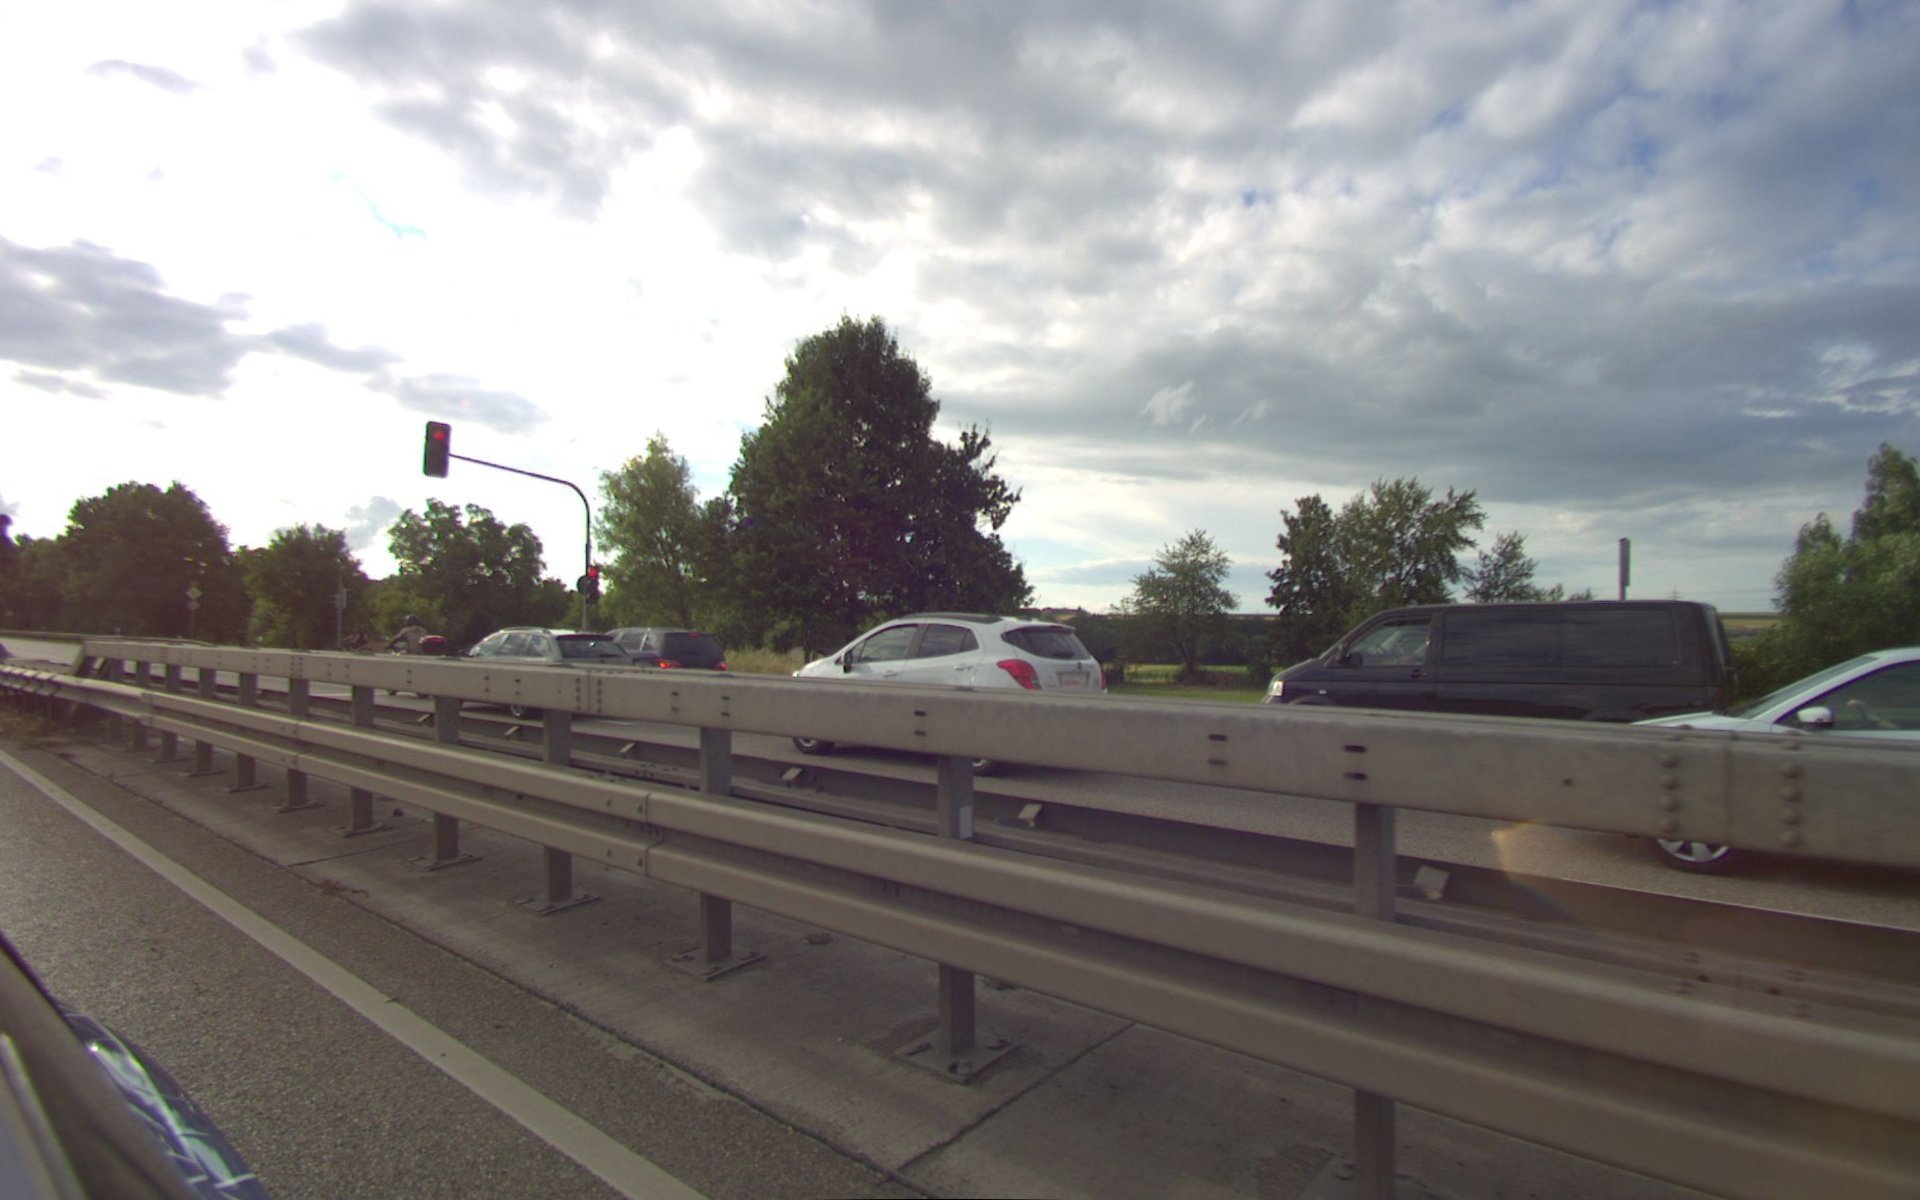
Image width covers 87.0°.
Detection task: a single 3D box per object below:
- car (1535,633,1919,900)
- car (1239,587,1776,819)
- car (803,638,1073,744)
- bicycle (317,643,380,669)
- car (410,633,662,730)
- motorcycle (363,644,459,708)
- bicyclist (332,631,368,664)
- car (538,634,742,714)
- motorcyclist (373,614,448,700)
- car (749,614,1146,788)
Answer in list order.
[{"bbox_3d":[5.995,0.942,6.090,4.157,1.455,1.770,-1,-3,40],"label":"car"},{"bbox_3d":[5.845,0.969,11.243,4.944,2.029,1.973,-1,-3,41],"label":"car"},{"bbox_3d":[-0.432,1.370,16.391,4.181,1.476,1.888,-1,-3,40],"label":"car"},{"bbox_3d":[-27.722,2.551,45.885,2.292,1.146,0.816,3,-3,-44],"label":"bicycle"},{"bbox_3d":[-7.463,1.304,17.541,5.148,1.439,1.888,-1,-3,40],"label":"car"},{"bbox_3d":[-11.430,1.541,21.038,2.477,1.212,0.907,-1,-3,41],"label":"motorcycle"},{"bbox_3d":[-27.688,2.157,45.916,1.208,1.462,0.816,3,-3,-44],"label":"bicyclist"},{"bbox_3d":[-7.033,1.518,21.951,4.935,1.547,1.888,-1,-3,40],"label":"car"},{"bbox_3d":[-11.430,1.163,21.049,1.275,1.722,0.907,-1,-3,41],"label":"motorcyclist"},{"bbox_3d":[-0.272,1.015,11.597,4.402,1.622,1.888,-1,-3,40],"label":"car"}]
